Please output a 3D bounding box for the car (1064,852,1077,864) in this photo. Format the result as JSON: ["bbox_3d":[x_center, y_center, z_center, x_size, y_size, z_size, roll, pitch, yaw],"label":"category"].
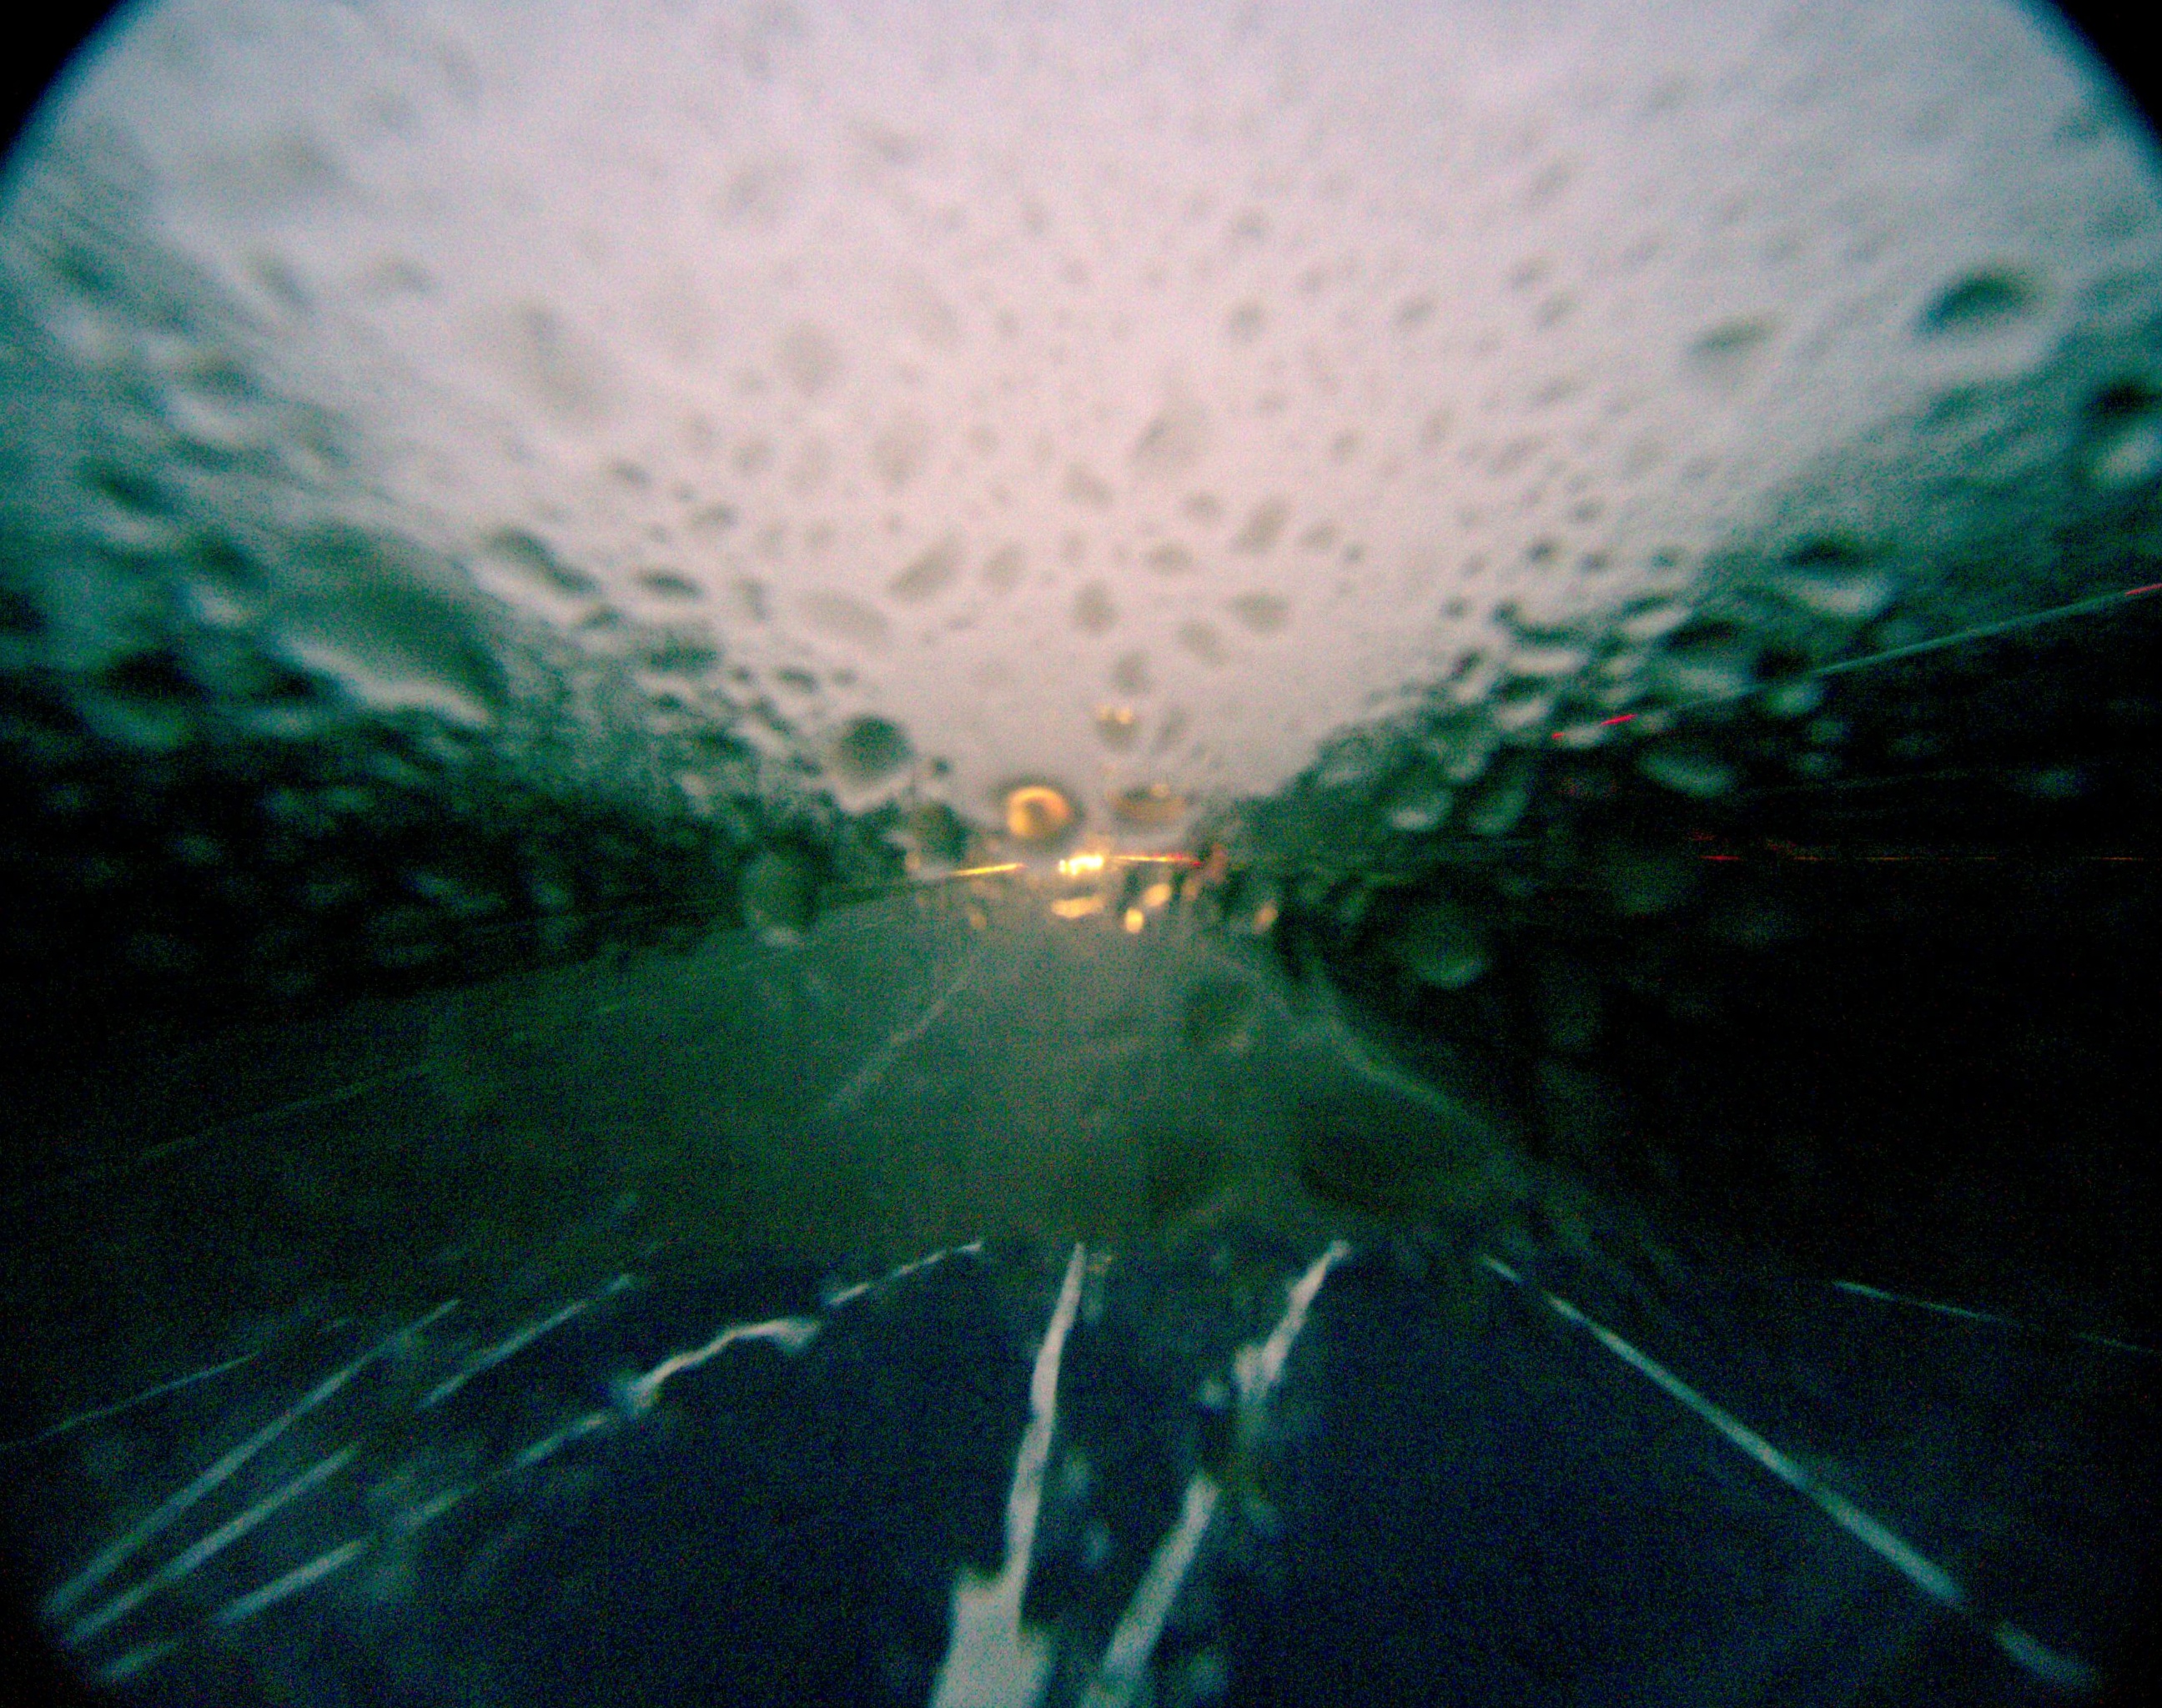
[{"bbox_3d":[-1.563,0.568,114.420,1.748,1.643,4.000,-2,0,2],"label":"car"}]

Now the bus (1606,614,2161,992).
[{"bbox_3d":[11.537,-0.542,10.152,2.745,3.534,9.155,-2,0,1],"label":"bus"}]

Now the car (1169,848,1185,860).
[{"bbox_3d":[14.124,-0.064,111.888,1.694,1.637,4.605,-2,0,1],"label":"car"}]

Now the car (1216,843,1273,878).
[{"bbox_3d":[7.956,0.290,37.315,1.835,1.584,4.152,-2,0,0],"label":"car"}]

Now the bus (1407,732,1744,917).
[{"bbox_3d":[11.658,-0.612,19.466,2.733,3.534,9.087,-2,0,1],"label":"bus"}]

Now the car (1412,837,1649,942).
[{"bbox_3d":[7.737,0.523,13.634,1.803,1.526,4.270,-2,0,2],"label":"car"}]

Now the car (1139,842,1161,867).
[{"bbox_3d":[8.997,0.010,99.404,2.309,3.072,5.608,-2,1,0],"label":"car"}]
